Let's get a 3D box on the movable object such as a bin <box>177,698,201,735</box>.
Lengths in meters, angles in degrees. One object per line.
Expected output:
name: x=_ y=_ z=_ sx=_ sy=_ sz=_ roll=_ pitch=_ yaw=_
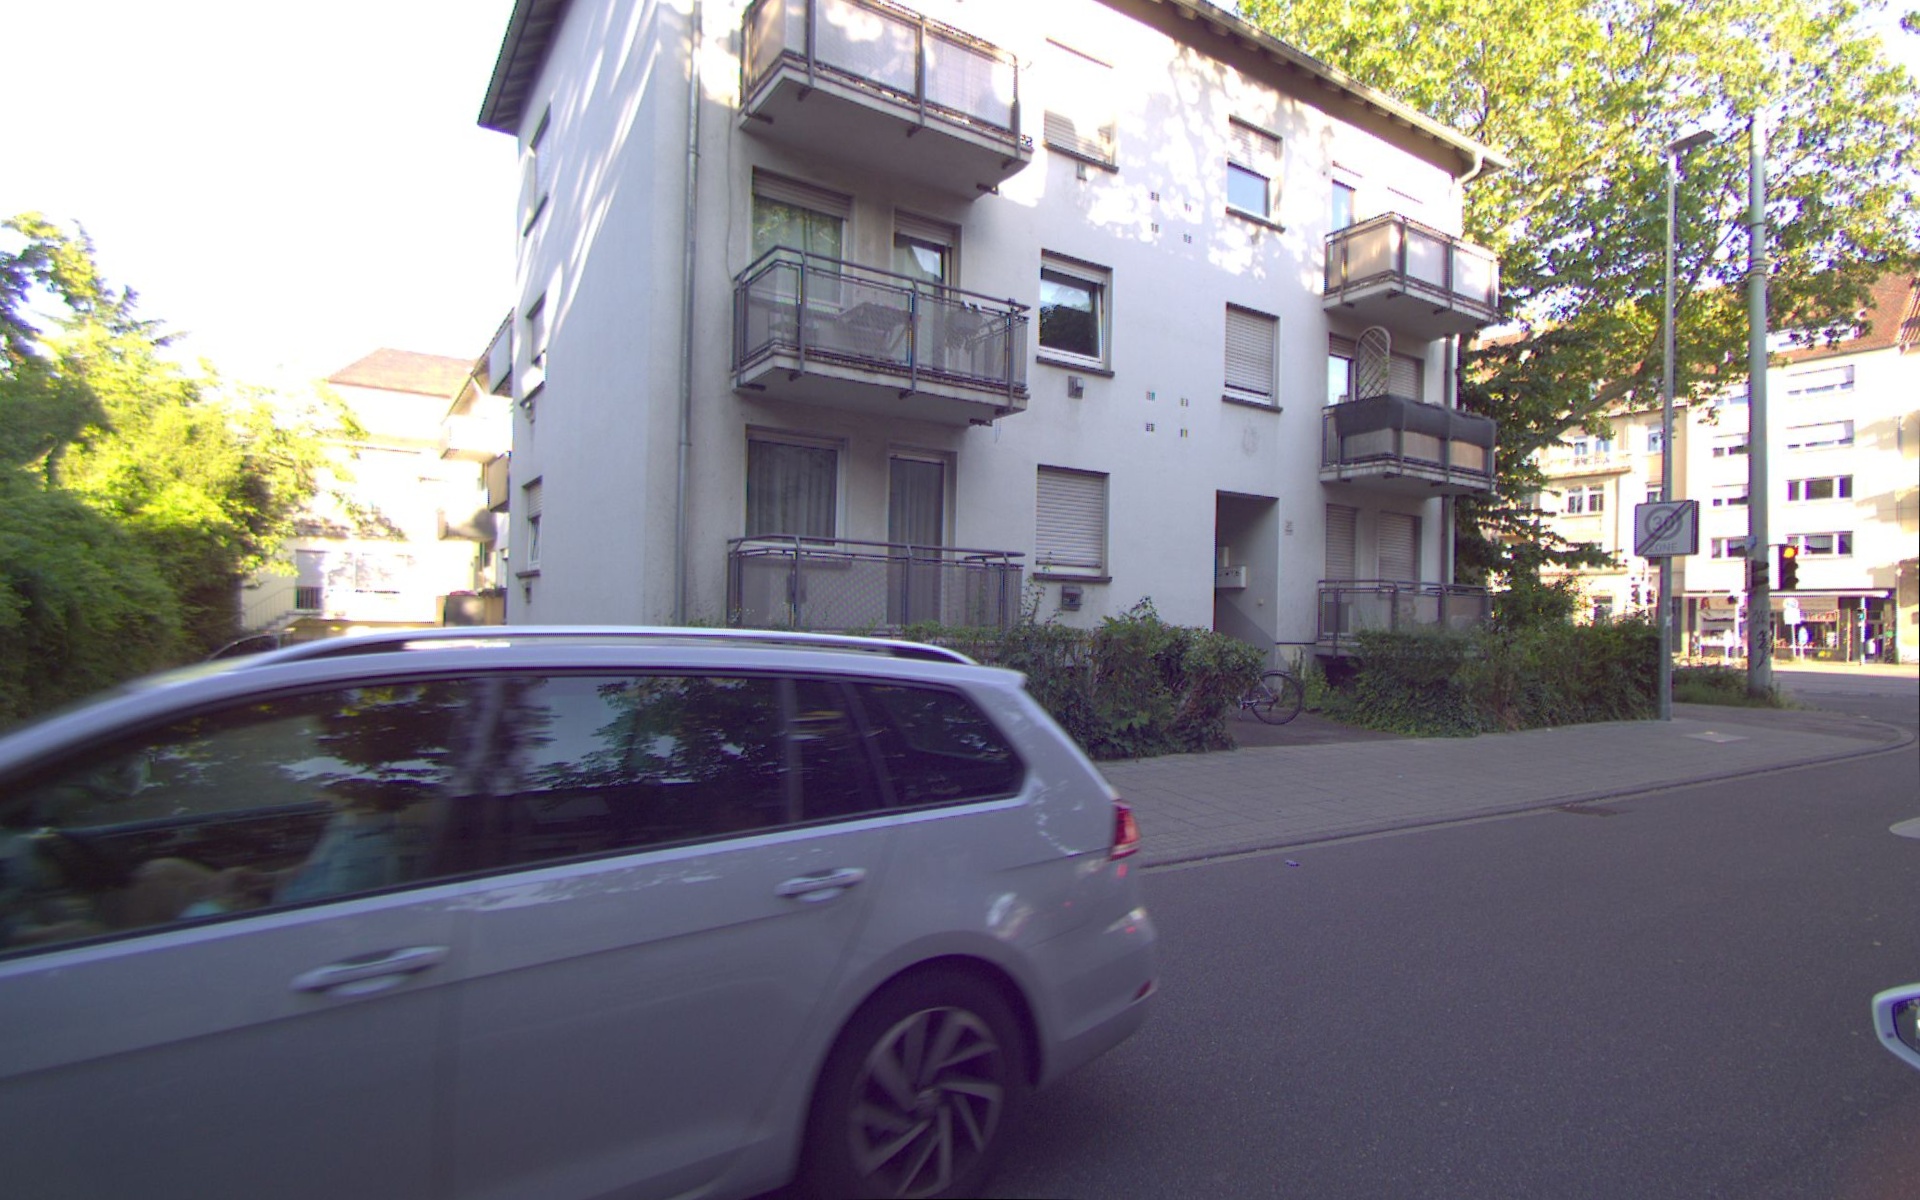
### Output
movable object such as a bin: x=-16.607 y=2.494 z=21.630 sx=0.342 sy=0.768 sz=0.361 roll=2 pitch=-4 yaw=-30

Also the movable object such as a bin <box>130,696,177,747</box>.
movable object such as a bin: x=-14.952 y=2.246 z=18.626 sx=0.570 sy=0.891 sz=0.491 roll=2 pitch=-4 yaw=-30

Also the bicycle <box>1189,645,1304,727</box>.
bicycle: x=3.882 y=1.147 z=13.618 sx=1.433 sy=0.988 sz=0.407 roll=3 pitch=0 yaw=21

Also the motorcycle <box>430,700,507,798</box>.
motorcycle: x=-7.376 y=2.191 z=15.045 sx=0.751 sy=1.268 sz=1.577 roll=1 pitch=-2 yaw=-36

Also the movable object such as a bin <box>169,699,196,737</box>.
movable object such as a bin: x=-16.210 y=2.458 z=20.949 sx=0.362 sy=0.768 sz=0.361 roll=2 pitch=-4 yaw=-30

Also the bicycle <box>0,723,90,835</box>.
bicycle: x=-11.011 y=2.094 z=12.064 sx=0.509 sy=1.033 sz=1.922 roll=3 pitch=-1 yaw=-32

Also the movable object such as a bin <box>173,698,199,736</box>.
movable object such as a bin: x=-16.404 y=2.471 z=21.289 sx=0.362 sy=0.768 sz=0.361 roll=2 pitch=-4 yaw=-30

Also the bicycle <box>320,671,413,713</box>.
bicycle: x=-15.694 y=2.447 z=26.618 sx=2.045 sy=1.034 sz=0.637 roll=4 pitch=0 yaw=-30

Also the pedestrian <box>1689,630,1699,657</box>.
pedestrian: x=42.375 y=2.518 z=57.989 sx=0.467 sy=1.531 sz=0.429 roll=0 pitch=-1 yaw=41

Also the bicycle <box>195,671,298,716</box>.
bicycle: x=-18.029 y=2.371 z=25.434 sx=2.045 sy=1.034 sz=0.568 roll=4 pitch=0 yaw=-30

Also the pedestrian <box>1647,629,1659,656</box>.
pedestrian: x=40.680 y=2.495 z=58.930 sx=0.503 sy=1.531 sz=0.534 roll=0 pitch=-1 yaw=42

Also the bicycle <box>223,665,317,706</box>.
bicycle: x=-18.996 y=2.352 z=27.697 sx=2.045 sy=1.034 sz=0.611 roll=4 pitch=0 yaw=-30

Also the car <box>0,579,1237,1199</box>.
car: x=-1.431 y=0.747 z=2.505 sx=4.255 sy=1.481 sz=1.770 roll=1 pitch=-2 yaw=-34

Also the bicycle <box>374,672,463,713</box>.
bicycle: x=-14.668 y=2.509 z=27.241 sx=2.045 sy=1.034 sz=0.637 roll=4 pitch=0 yaw=-30

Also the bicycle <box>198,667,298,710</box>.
bicycle: x=-18.861 y=2.351 z=26.660 sx=2.045 sy=1.034 sz=0.611 roll=4 pitch=0 yaw=-30

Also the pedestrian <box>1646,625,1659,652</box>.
pedestrian: x=40.435 y=2.251 z=58.679 sx=0.558 sy=1.531 sz=0.499 roll=0 pitch=-1 yaw=41

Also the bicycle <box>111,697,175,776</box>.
bicycle: x=-13.223 y=2.180 z=16.298 sx=0.509 sy=1.033 sz=1.922 roll=3 pitch=-1 yaw=-32

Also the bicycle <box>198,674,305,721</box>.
bicycle: x=-17.277 y=2.389 z=24.555 sx=2.045 sy=1.034 sz=0.637 roll=4 pitch=0 yaw=-30

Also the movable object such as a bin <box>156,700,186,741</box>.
movable object such as a bin: x=-15.631 y=2.376 z=19.899 sx=0.393 sy=0.784 sz=0.361 roll=2 pitch=-4 yaw=-30

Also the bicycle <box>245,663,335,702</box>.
bicycle: x=-19.019 y=2.356 z=28.569 sx=2.045 sy=1.034 sz=0.564 roll=4 pitch=0 yaw=-30

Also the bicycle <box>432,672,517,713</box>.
bicycle: x=-13.497 y=2.583 z=27.926 sx=2.045 sy=1.034 sz=0.637 roll=4 pitch=0 yaw=-30

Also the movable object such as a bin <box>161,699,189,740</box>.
movable object such as a bin: x=-15.825 y=2.406 z=20.258 sx=0.377 sy=0.784 sz=0.361 roll=2 pitch=-4 yaw=-30
